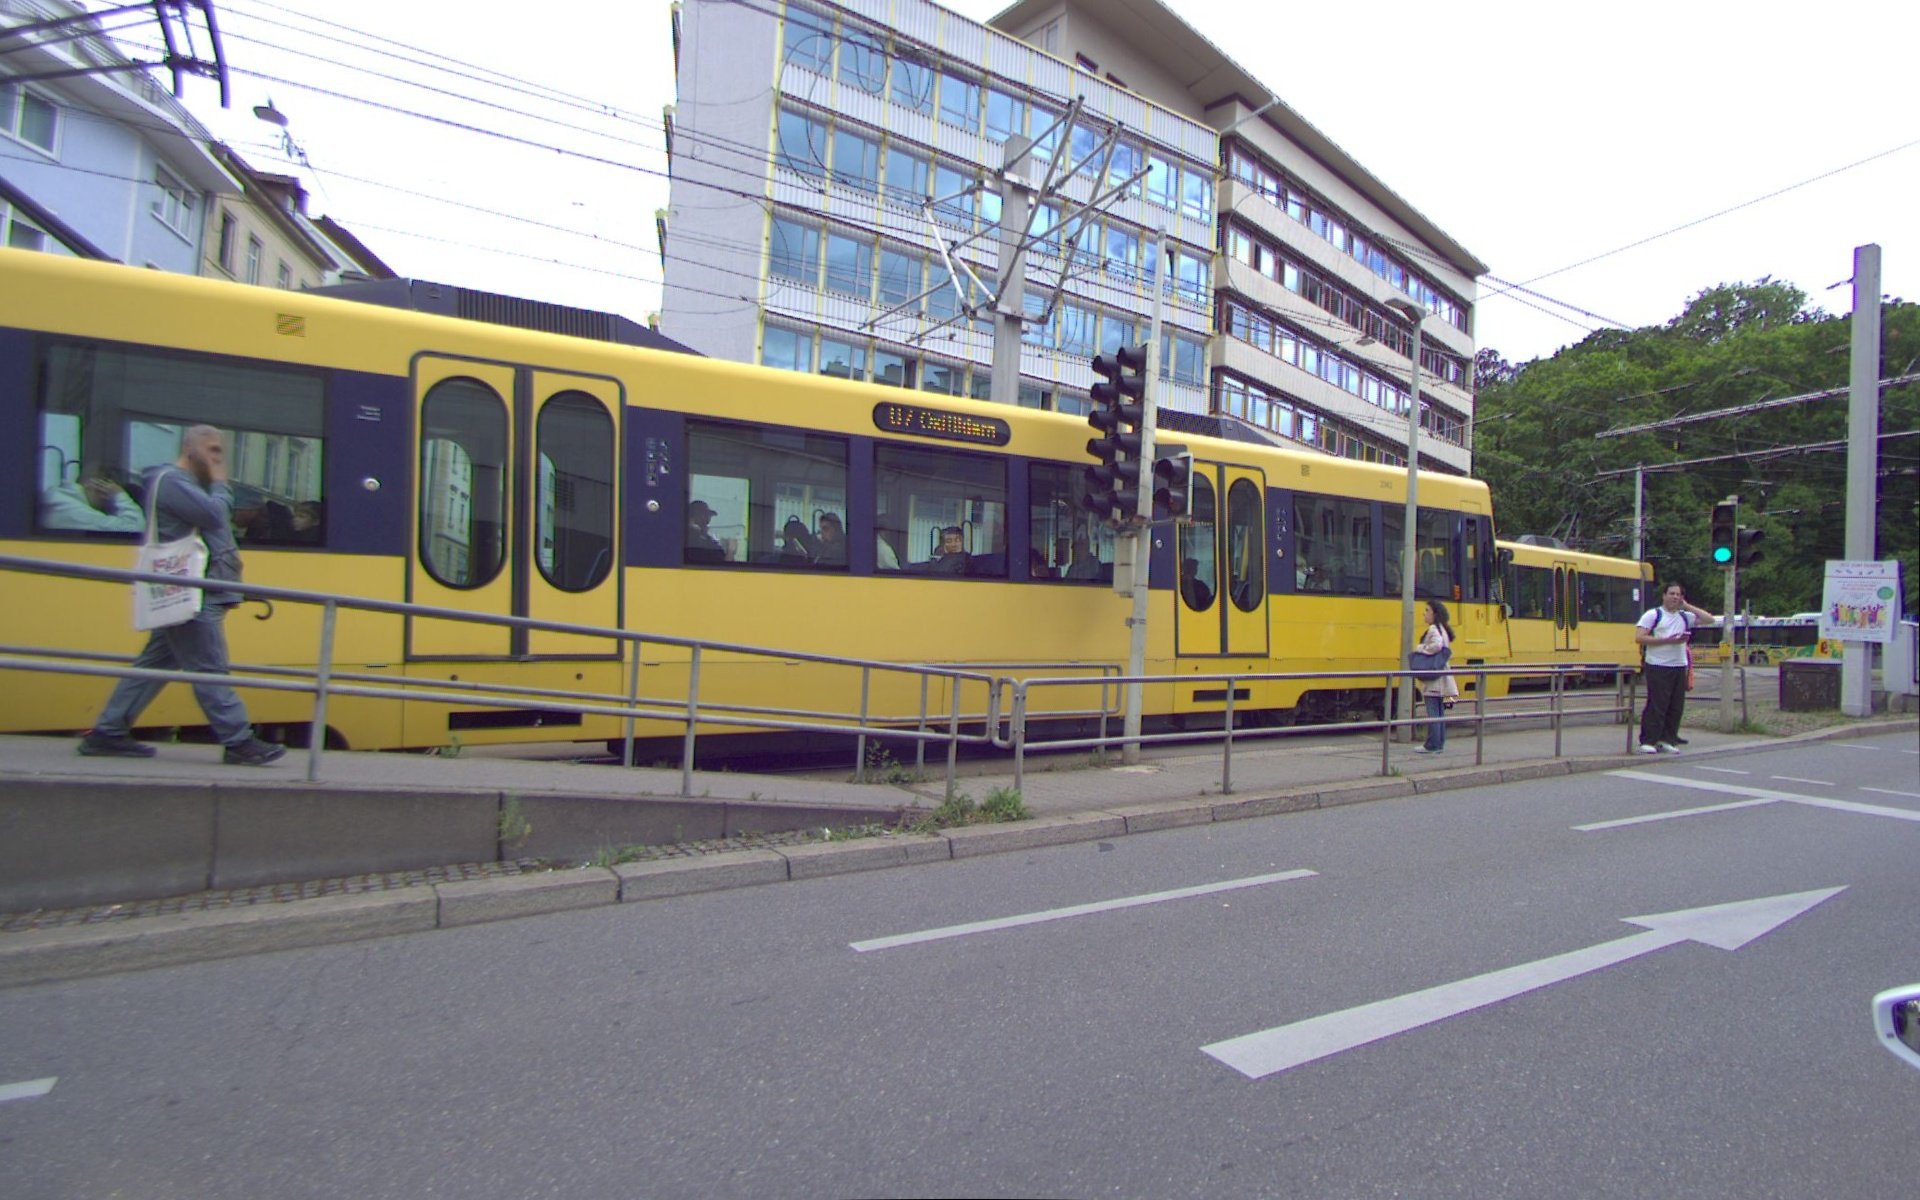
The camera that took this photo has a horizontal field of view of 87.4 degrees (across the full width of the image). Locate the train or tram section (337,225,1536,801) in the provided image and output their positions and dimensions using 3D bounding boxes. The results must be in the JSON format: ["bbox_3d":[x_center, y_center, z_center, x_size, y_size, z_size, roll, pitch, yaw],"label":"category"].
[{"bbox_3d":[1.335,-0.316,11.534,14.317,3.712,2.866,2,-2,-32],"label":"train or tram section"}]

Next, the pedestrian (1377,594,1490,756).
[{"bbox_3d":[5.086,0.783,10.787,0.990,1.646,0.672,2,-2,-32],"label":"pedestrian"}]

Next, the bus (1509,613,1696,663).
[{"bbox_3d":[43.226,2.590,68.275,3.271,3.083,11.324,1,-2,-17],"label":"bus"}]

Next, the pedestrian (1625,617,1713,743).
[{"bbox_3d":[8.719,0.983,12.363,0.664,1.482,0.577,4,-4,-11],"label":"pedestrian"}]

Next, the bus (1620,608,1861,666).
[{"bbox_3d":[45.781,2.224,59.669,3.335,3.069,11.511,1,-2,-16],"label":"bus"}]

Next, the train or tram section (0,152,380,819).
[{"bbox_3d":[-10.505,-0.780,3.974,14.075,3.712,2.866,2,-2,-33],"label":"train or tram section"}]

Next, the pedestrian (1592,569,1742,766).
[{"bbox_3d":[8.068,0.776,11.487,1.014,2.093,0.967,4,-4,-11],"label":"pedestrian"}]

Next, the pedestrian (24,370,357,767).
[{"bbox_3d":[-3.773,-0.089,5.098,1.030,1.701,1.111,7,-5,-30],"label":"pedestrian"}]
